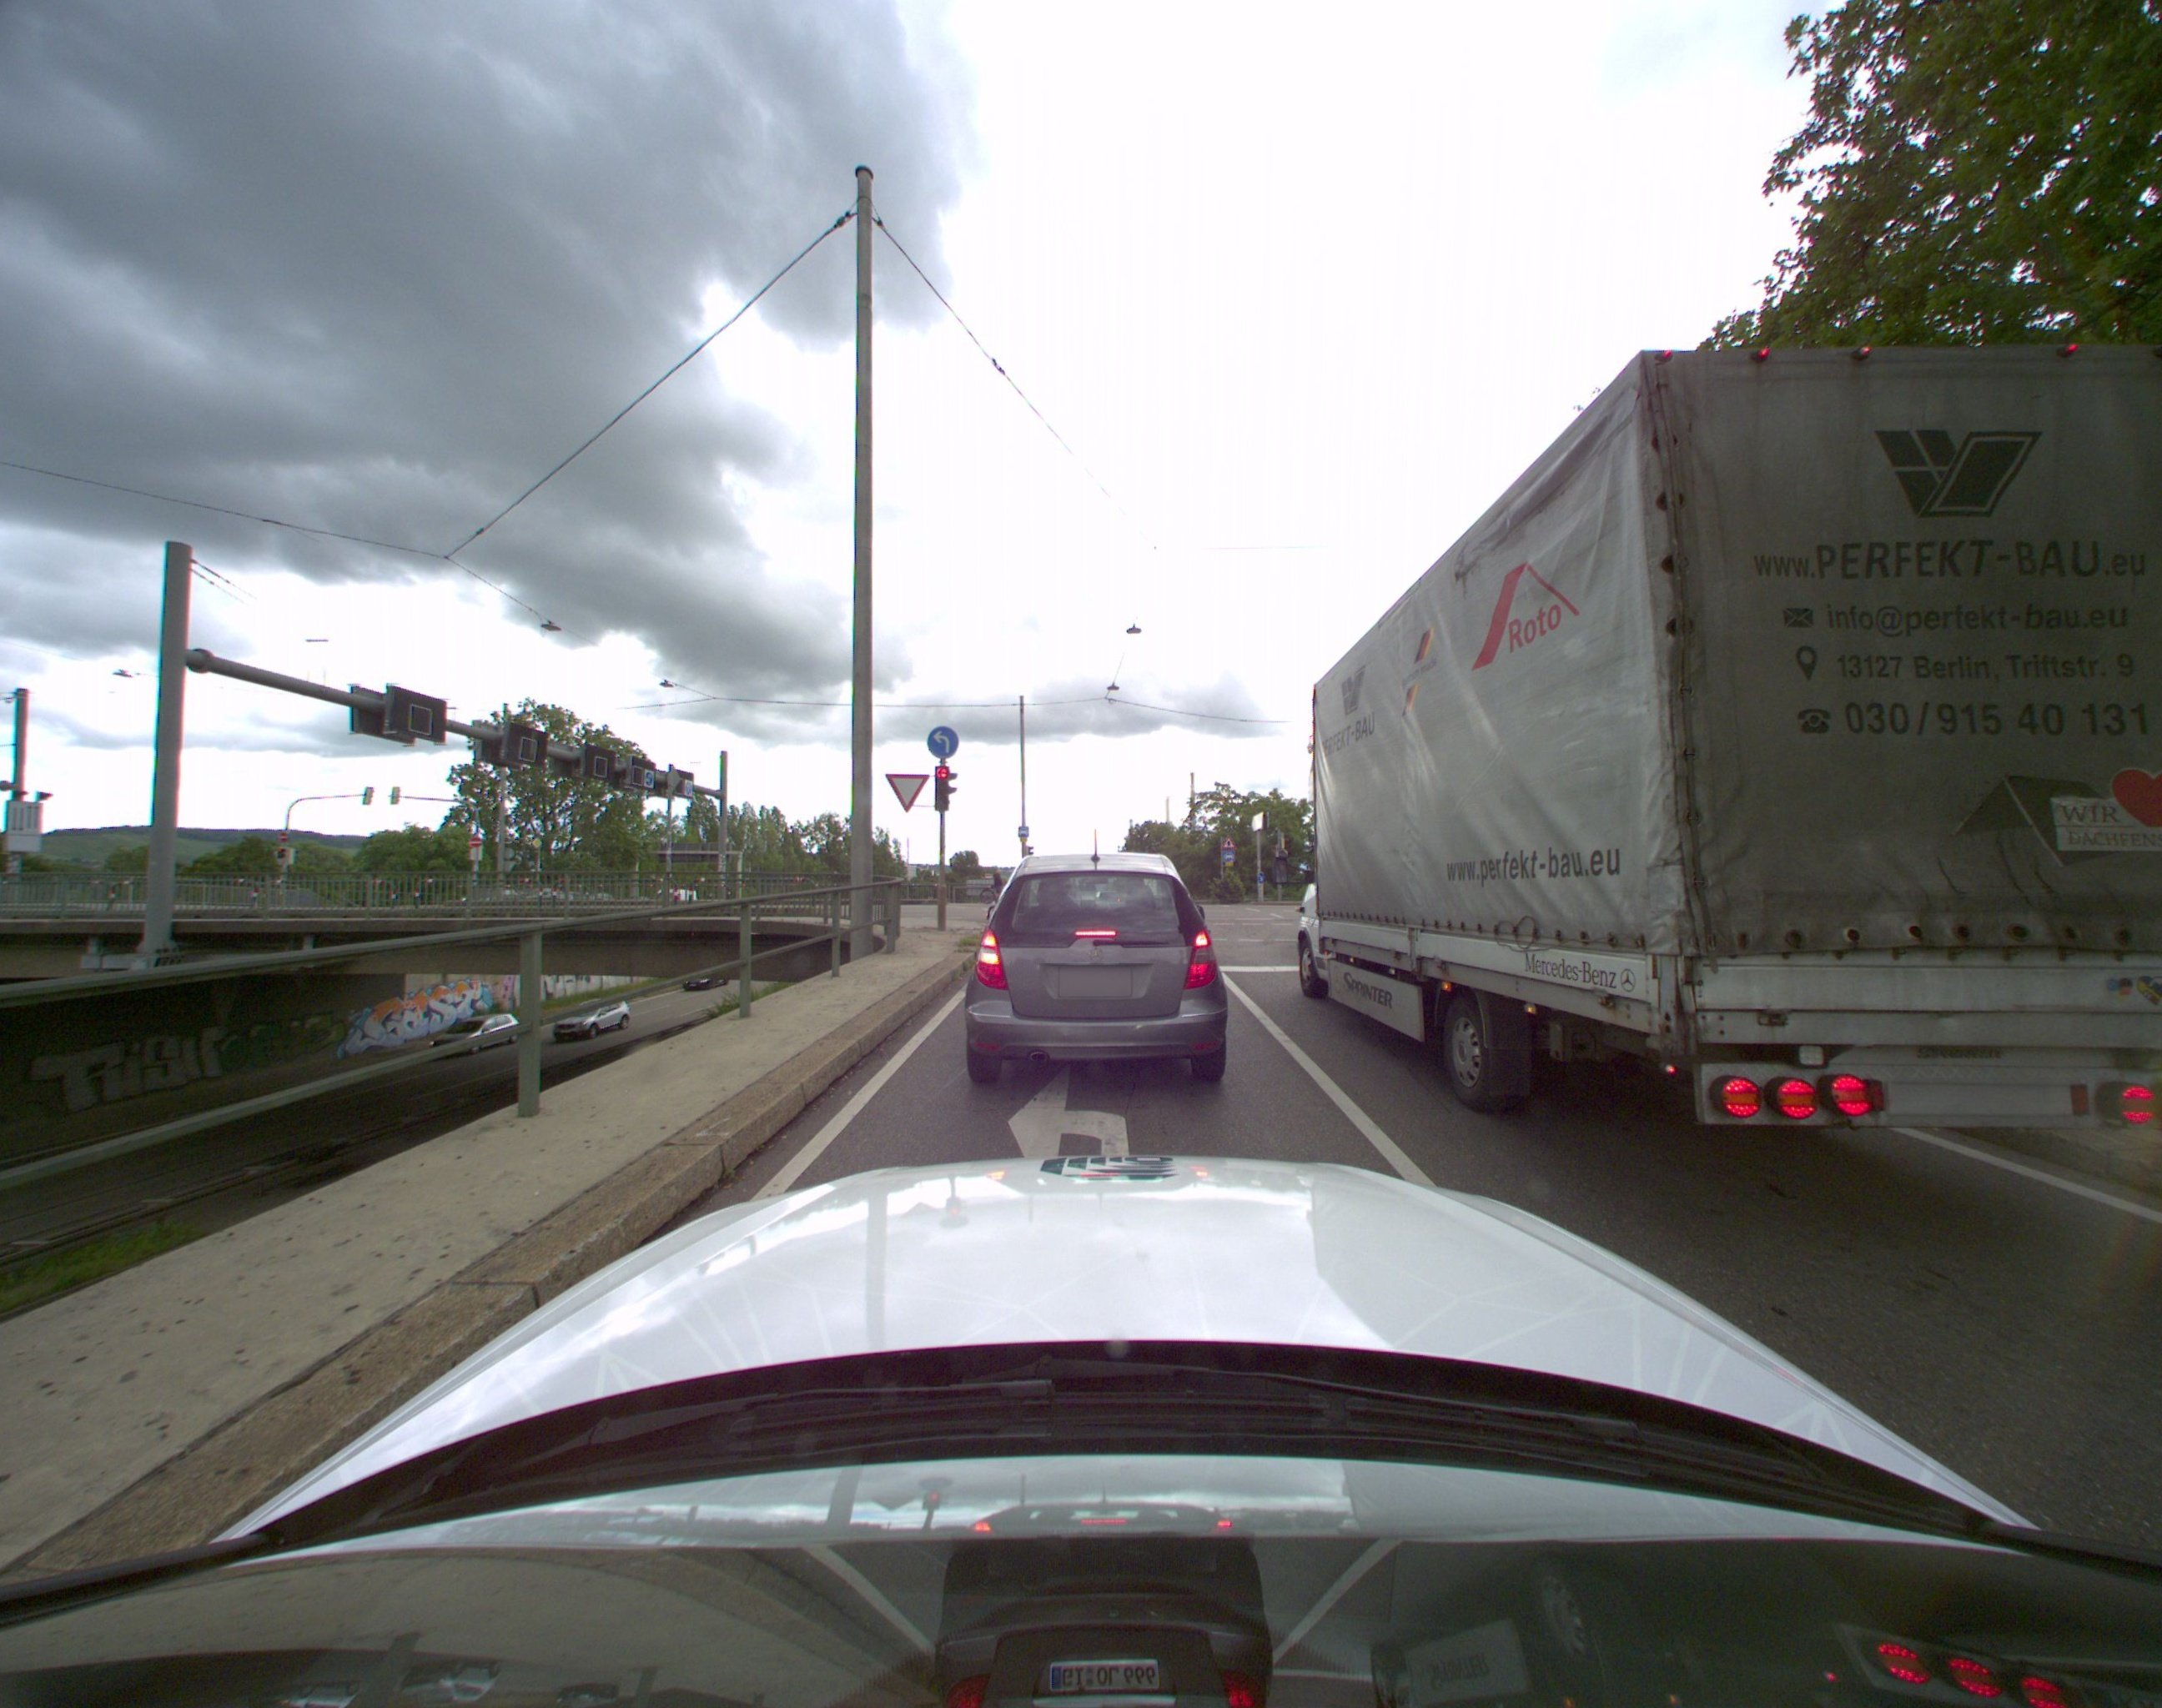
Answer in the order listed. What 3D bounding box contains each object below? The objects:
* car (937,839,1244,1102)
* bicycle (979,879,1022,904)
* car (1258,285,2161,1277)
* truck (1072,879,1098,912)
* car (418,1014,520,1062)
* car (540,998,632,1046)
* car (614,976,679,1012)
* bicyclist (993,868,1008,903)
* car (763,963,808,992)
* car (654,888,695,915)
[{"bbox_3d":[0.190,0.700,6.979,1.849,1.588,4.005,-1,1,4],"label":"car"},{"bbox_3d":[-3.984,1.827,40.269,2.032,1.124,0.926,-1,0,-10],"label":"bicycle"},{"bbox_3d":[3.361,-0.225,6.289,2.648,3.329,7.094,-1,-1,2],"label":"car"},{"bbox_3d":[0.400,5.033,101.314,2.782,3.518,10.238,-1,0,-2],"label":"truck"},{"bbox_3d":[-28.367,8.502,37.918,1.676,1.457,3.922,-1,-2,2],"label":"car"},{"bbox_3d":[-24.905,8.437,41.185,1.879,1.616,4.307,-1,-2,2],"label":"car"},{"bbox_3d":[-28.441,9.151,53.467,1.928,1.643,4.109,-1,0,2],"label":"car"},{"bbox_3d":[-3.978,1.541,40.283,0.653,1.673,0.867,-1,0,-9],"label":"bicyclist"},{"bbox_3d":[-21.990,9.191,60.750,1.773,1.499,4.000,-1,0,2],"label":"car"},{"bbox_3d":[-36.325,4.216,72.873,1.850,2.215,3.660,-1,0,-3],"label":"car"}]
